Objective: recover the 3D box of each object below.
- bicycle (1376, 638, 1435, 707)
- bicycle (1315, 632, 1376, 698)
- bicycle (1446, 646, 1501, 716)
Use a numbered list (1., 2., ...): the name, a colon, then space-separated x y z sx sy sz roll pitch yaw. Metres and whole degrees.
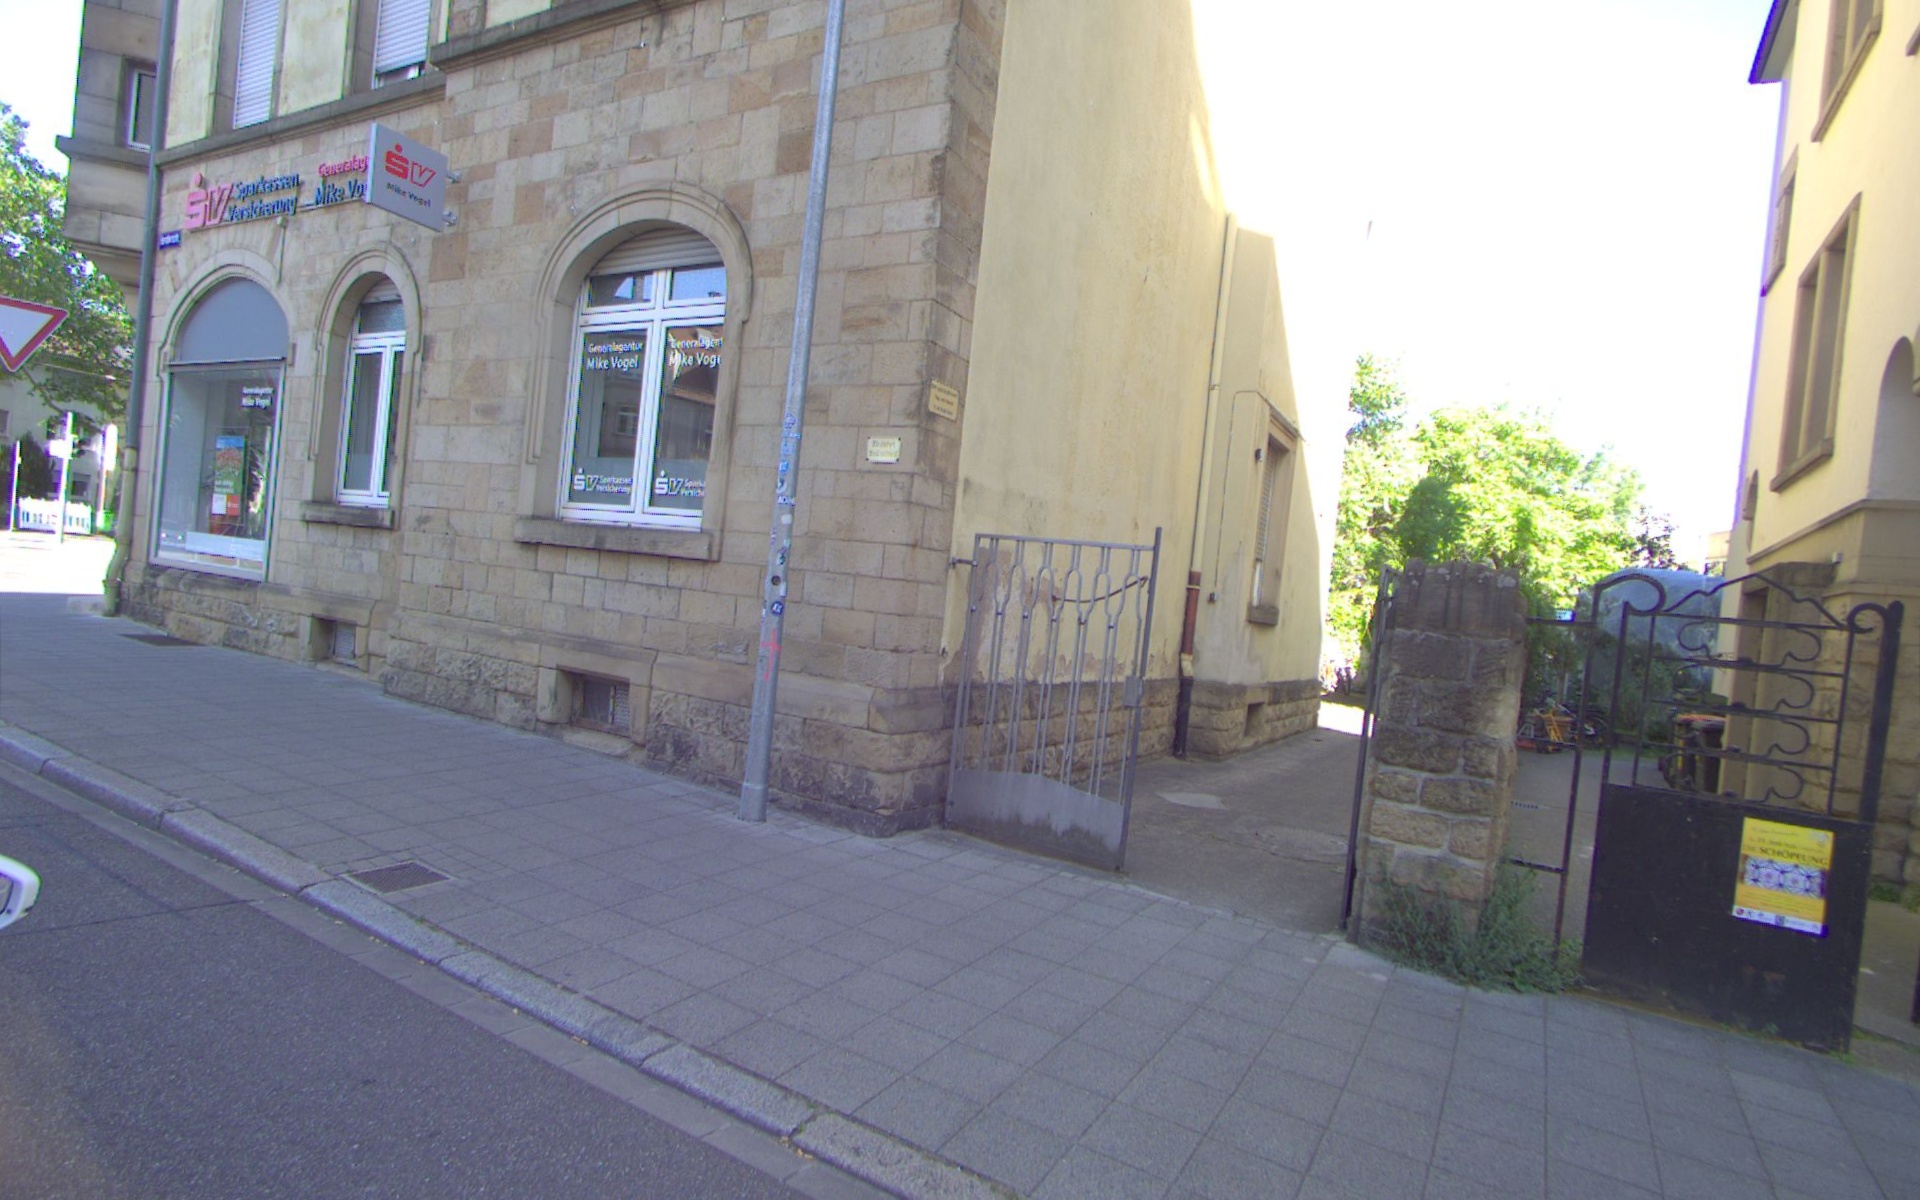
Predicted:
1. bicycle: 11.213 1.778 25.250 0.904 1.532 2.667 6 2 31
2. bicycle: 9.979 1.643 25.967 0.904 1.532 2.667 6 2 31
3. bicycle: 12.598 1.938 24.637 0.904 1.532 2.667 6 2 31
